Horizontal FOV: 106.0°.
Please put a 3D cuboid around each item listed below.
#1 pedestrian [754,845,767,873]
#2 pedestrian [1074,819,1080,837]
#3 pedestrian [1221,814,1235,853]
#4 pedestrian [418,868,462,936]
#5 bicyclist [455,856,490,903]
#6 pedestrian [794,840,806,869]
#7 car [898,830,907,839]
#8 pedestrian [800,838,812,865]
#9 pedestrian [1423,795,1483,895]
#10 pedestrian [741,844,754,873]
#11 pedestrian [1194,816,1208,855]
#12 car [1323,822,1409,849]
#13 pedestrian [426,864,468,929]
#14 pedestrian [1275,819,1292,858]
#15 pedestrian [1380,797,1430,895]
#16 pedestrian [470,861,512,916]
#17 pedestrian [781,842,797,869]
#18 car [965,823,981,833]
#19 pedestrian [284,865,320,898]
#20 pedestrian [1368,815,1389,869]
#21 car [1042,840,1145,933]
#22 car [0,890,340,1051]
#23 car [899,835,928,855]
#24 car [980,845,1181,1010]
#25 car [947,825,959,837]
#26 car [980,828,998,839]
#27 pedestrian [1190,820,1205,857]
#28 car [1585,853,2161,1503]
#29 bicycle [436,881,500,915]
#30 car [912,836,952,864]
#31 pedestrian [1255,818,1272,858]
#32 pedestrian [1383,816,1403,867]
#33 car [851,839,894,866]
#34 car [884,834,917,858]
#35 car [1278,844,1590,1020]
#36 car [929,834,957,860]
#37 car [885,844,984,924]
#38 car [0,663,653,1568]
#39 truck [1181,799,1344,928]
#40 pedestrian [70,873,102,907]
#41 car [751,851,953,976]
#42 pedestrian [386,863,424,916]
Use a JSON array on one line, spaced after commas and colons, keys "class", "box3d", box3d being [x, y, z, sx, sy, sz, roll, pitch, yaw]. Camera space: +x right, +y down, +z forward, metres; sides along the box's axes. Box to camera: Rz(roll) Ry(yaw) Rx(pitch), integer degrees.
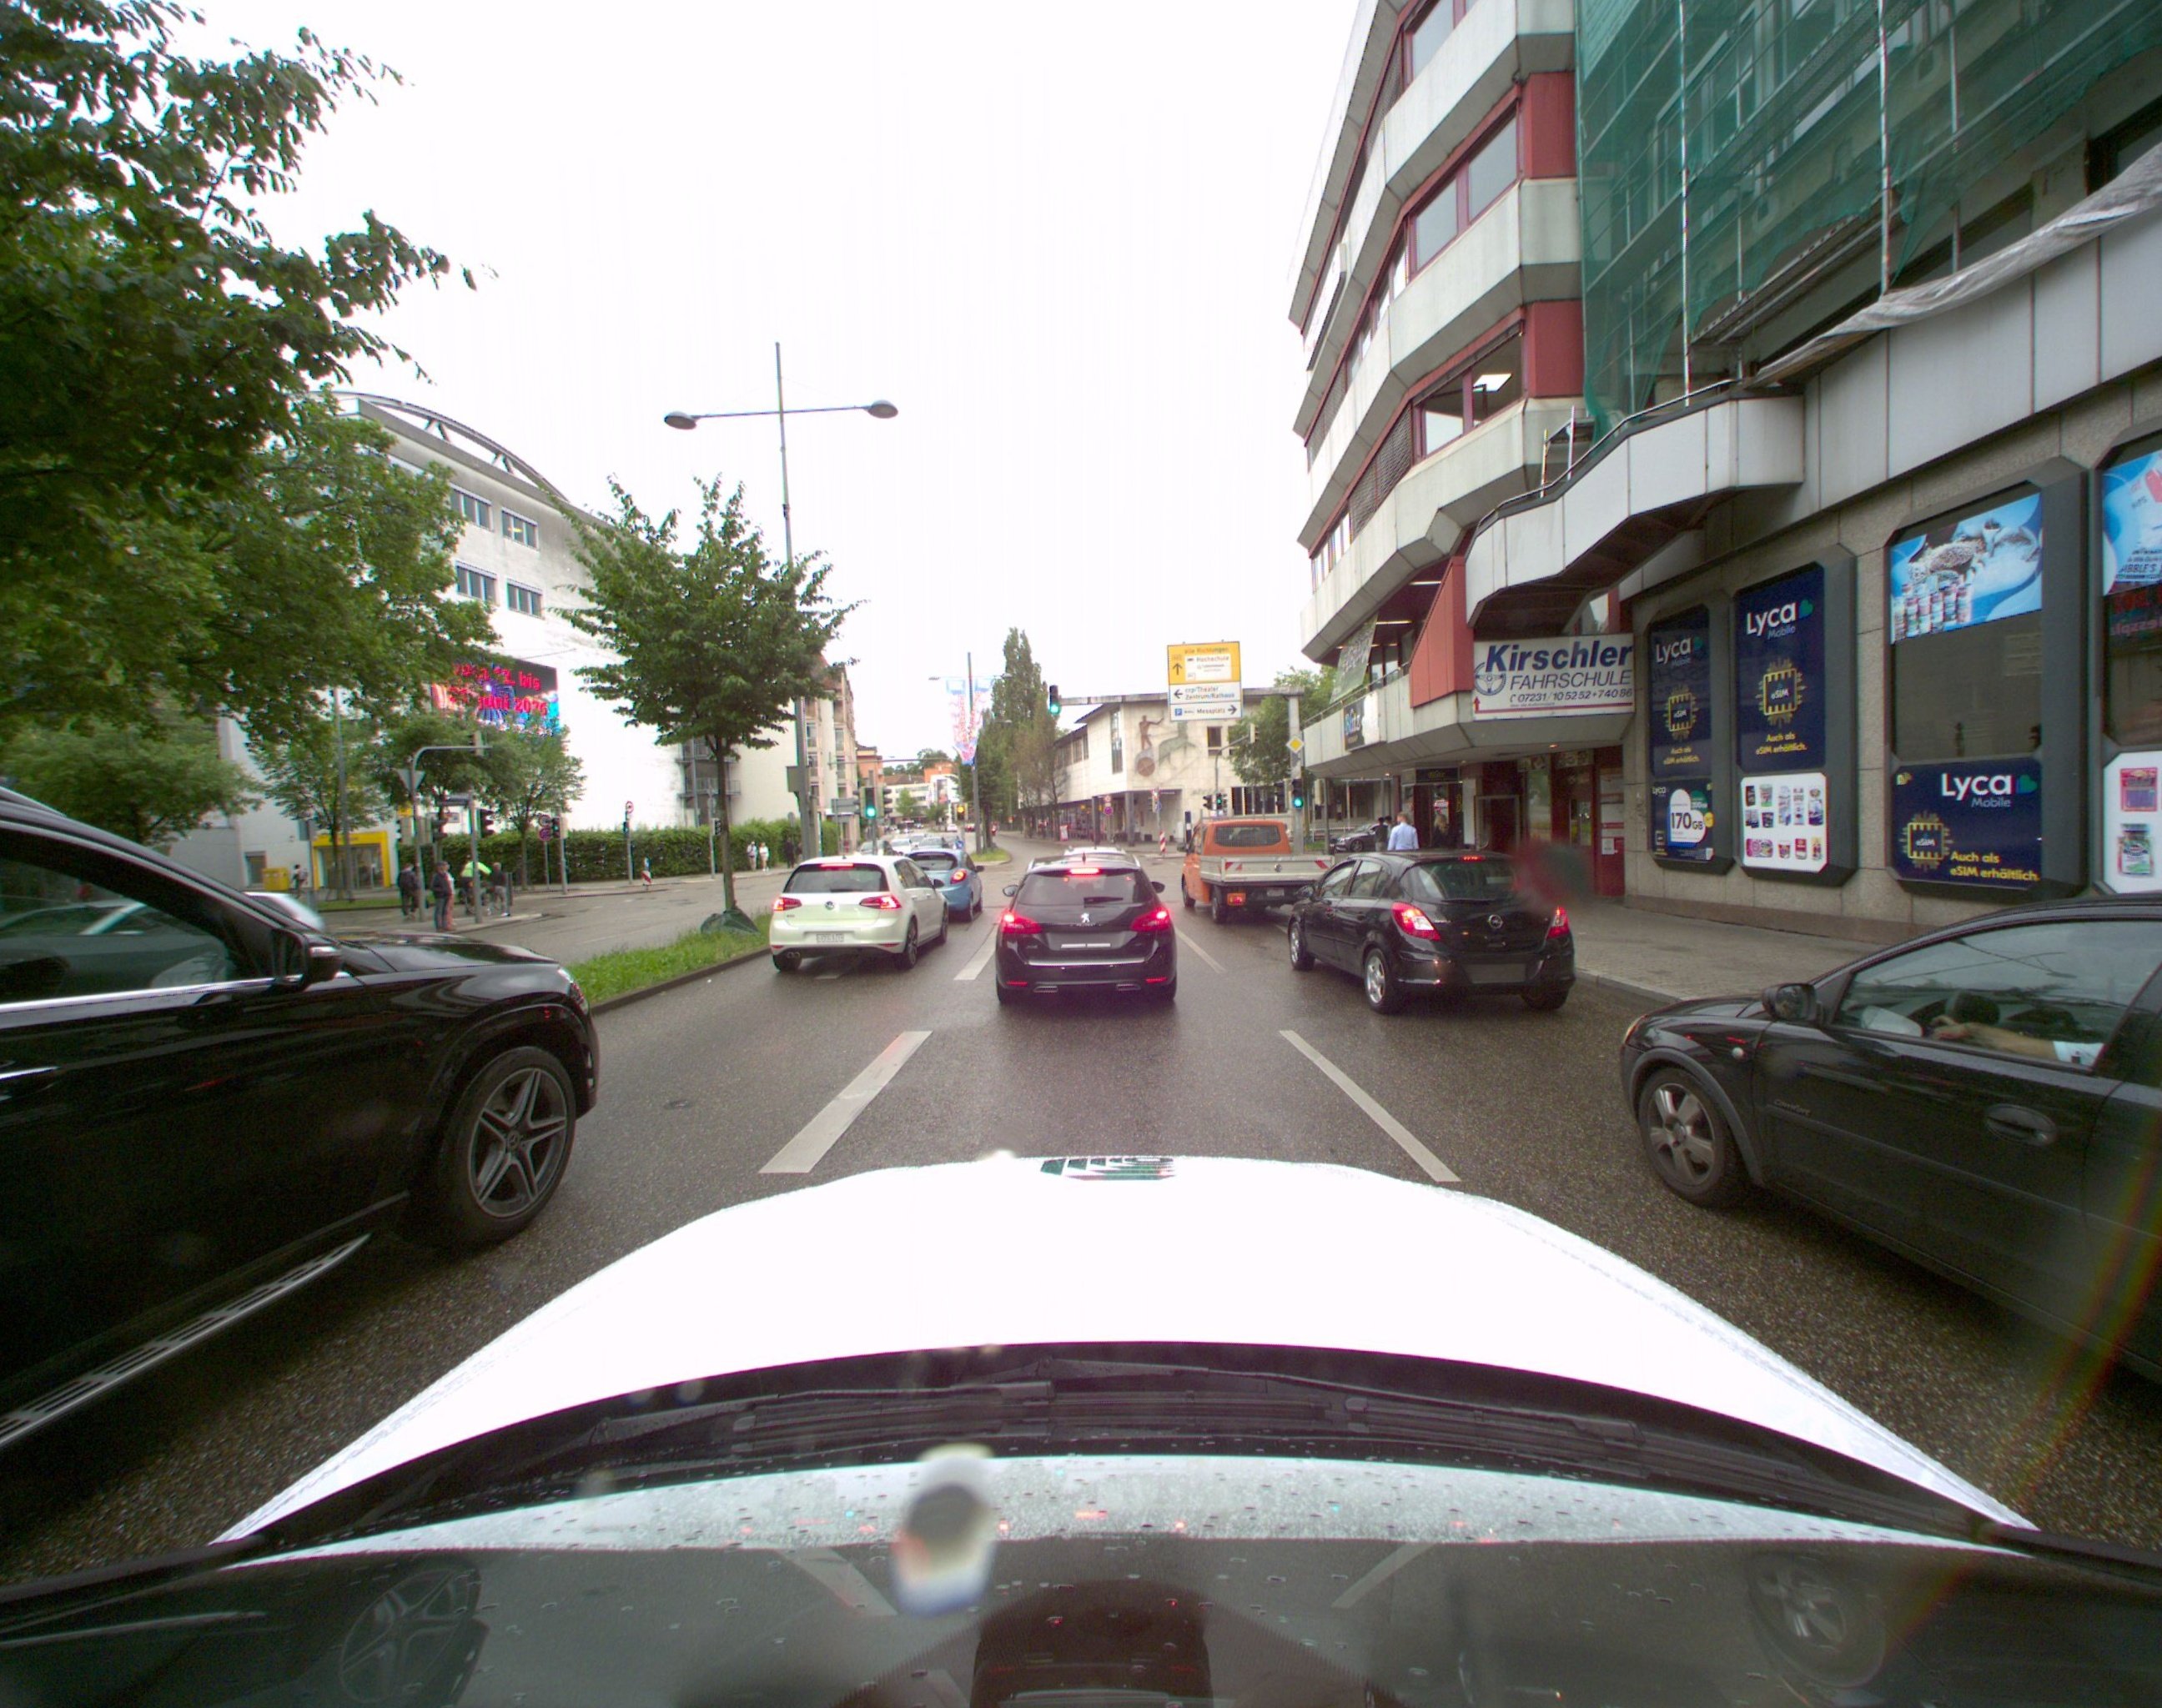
[{"class": "pedestrian", "box3d": [-18.569, 0.313, 47.146, 0.579, 1.599, 0.526, -1, -1, -5]}, {"class": "pedestrian", "box3d": [-0.368, -2.603, 81.629, 0.469, 1.748, 0.537, 0, -1, -19]}, {"class": "pedestrian", "box3d": [7.272, -0.989, 40.357, 0.633, 1.897, 0.735, -1, -1, 8]}, {"class": "pedestrian", "box3d": [-16.315, 1.206, 20.733, 0.555, 1.661, 0.580, -2, 2, 2]}, {"class": "bicyclist", "box3d": [-20.445, 0.835, 27.361, 0.629, 1.530, 0.609, -3, -1, 1]}, {"class": "pedestrian", "box3d": [-17.459, 0.034, 50.676, 0.538, 1.748, 0.745, -1, -1, -7]}, {"class": "car", "box3d": [-46.746, -5.084, 213.409, 1.999, 2.014, 3.976, 0, -1, -18]}, {"class": "pedestrian", "box3d": [-17.668, -0.144, 52.321, 0.538, 1.748, 0.564, -1, -1, -3]}, {"class": "pedestrian", "box3d": [7.553, -0.176, 16.562, 0.733, 1.934, 0.640, -5, -1, 1]}, {"class": "pedestrian", "box3d": [-19.104, 0.262, 46.661, 0.579, 1.599, 0.526, -1, -1, -5]}, {"class": "pedestrian", "box3d": [5.958, -0.914, 40.397, 0.633, 1.897, 0.735, -1, -1, 8]}, {"class": "car", "box3d": [13.964, -0.884, 40.120, 3.669, 1.212, 1.839, -1, -1, 6]}, {"class": "pedestrian", "box3d": [-16.971, 1.128, 21.802, 0.555, 1.661, 0.580, -2, 2, 2]}, {"class": "pedestrian", "box3d": [8.736, -0.647, 35.128, 0.633, 1.659, 0.735, -1, -1, 8]}, {"class": "pedestrian", "box3d": [6.555, -0.154, 16.520, 0.733, 1.935, 0.640, -1, -1, 1]}, {"class": "pedestrian", "box3d": [-18.498, 1.066, 25.541, 0.750, 1.661, 0.628, -2, 2, 1]}, {"class": "pedestrian", "box3d": [-18.055, 0.079, 50.367, 0.634, 1.643, 0.735, -1, -1, 5]}, {"class": "car", "box3d": [-18.847, -4.590, 141.885, 1.730, 1.490, 4.702, 0, -1, -19]}, {"class": "pedestrian", "box3d": [-37.310, 1.316, 39.018, 1.059, 1.578, 0.683, -1, -1, -3]}, {"class": "pedestrian", "box3d": [9.578, -0.375, 26.187, 0.424, 1.682, 0.450, -3, -1, 0]}, {"class": "car", "box3d": [0.263, 0.503, 15.340, 1.690, 1.486, 3.795, -1, 1, 2]}, {"class": "car", "box3d": [-10.704, 1.190, 8.946, 1.627, 1.468, 3.752, -4, -3, 0]}, {"class": "car", "box3d": [-12.652, -0.697, 61.632, 1.630, 1.486, 3.604, -1, 1, -4]}, {"class": "car", "box3d": [0.102, 0.637, 9.136, 1.770, 1.429, 3.846, -1, 1, 3]}, {"class": "car", "box3d": [-23.131, -4.162, 146.884, 1.709, 1.882, 3.979, 0, -1, -15]}, {"class": "car", "box3d": [-13.056, -2.907, 115.248, 1.790, 1.454, 4.485, -5, 3, -14]}, {"class": "pedestrian", "box3d": [5.571, -0.724, 38.930, 0.633, 1.758, 0.735, -1, -1, 8]}, {"class": "car", "box3d": [3.272, 0.744, 2.305, 1.600, 1.429, 3.626, -1, 1, 3]}, {"class": "bicycle", "box3d": [-20.452, 1.444, 27.223, 0.613, 1.000, 1.941, -3, -1, 2]}, {"class": "car", "box3d": [-8.759, -0.209, 48.163, 1.739, 1.579, 3.997, -1, -1, -1]}, {"class": "pedestrian", "box3d": [7.863, -0.682, 35.148, 0.633, 1.659, 0.735, -1, -1, 8]}, {"class": "pedestrian", "box3d": [10.148, -0.407, 26.491, 0.395, 1.640, 0.504, -3, -1, 2]}, {"class": "car", "box3d": [-12.010, -0.127, 47.124, 1.569, 1.486, 3.608, -1, 1, -1]}, {"class": "car", "box3d": [-12.063, -0.561, 54.516, 1.630, 1.486, 3.604, -1, 1, -4]}, {"class": "car", "box3d": [3.394, 0.620, 8.670, 1.611, 1.429, 3.840, -1, 1, -1]}, {"class": "car", "box3d": [-9.280, -0.439, 55.091, 1.743, 1.640, 3.988, 0, -1, -9]}, {"class": "car", "box3d": [-3.056, 0.561, 17.626, 1.629, 1.486, 3.606, -1, 1, -3]}, {"class": "car", "box3d": [-3.192, 0.548, 1.654, 1.905, 1.870, 5.073, -1, -1, 1]}, {"class": "truck", "box3d": [3.418, 0.105, 16.464, 2.170, 2.172, 5.020, -1, 1, 0]}, {"class": "pedestrian", "box3d": [-48.372, 1.729, 39.600, 0.633, 1.643, 0.735, -1, -1, 8]}, {"class": "car", "box3d": [-3.034, 0.705, 11.650, 1.772, 1.429, 3.842, -1, 1, 0]}, {"class": "pedestrian", "box3d": [-22.009, 1.151, 26.518, 0.637, 1.666, 0.580, -2, 2, 1]}]
